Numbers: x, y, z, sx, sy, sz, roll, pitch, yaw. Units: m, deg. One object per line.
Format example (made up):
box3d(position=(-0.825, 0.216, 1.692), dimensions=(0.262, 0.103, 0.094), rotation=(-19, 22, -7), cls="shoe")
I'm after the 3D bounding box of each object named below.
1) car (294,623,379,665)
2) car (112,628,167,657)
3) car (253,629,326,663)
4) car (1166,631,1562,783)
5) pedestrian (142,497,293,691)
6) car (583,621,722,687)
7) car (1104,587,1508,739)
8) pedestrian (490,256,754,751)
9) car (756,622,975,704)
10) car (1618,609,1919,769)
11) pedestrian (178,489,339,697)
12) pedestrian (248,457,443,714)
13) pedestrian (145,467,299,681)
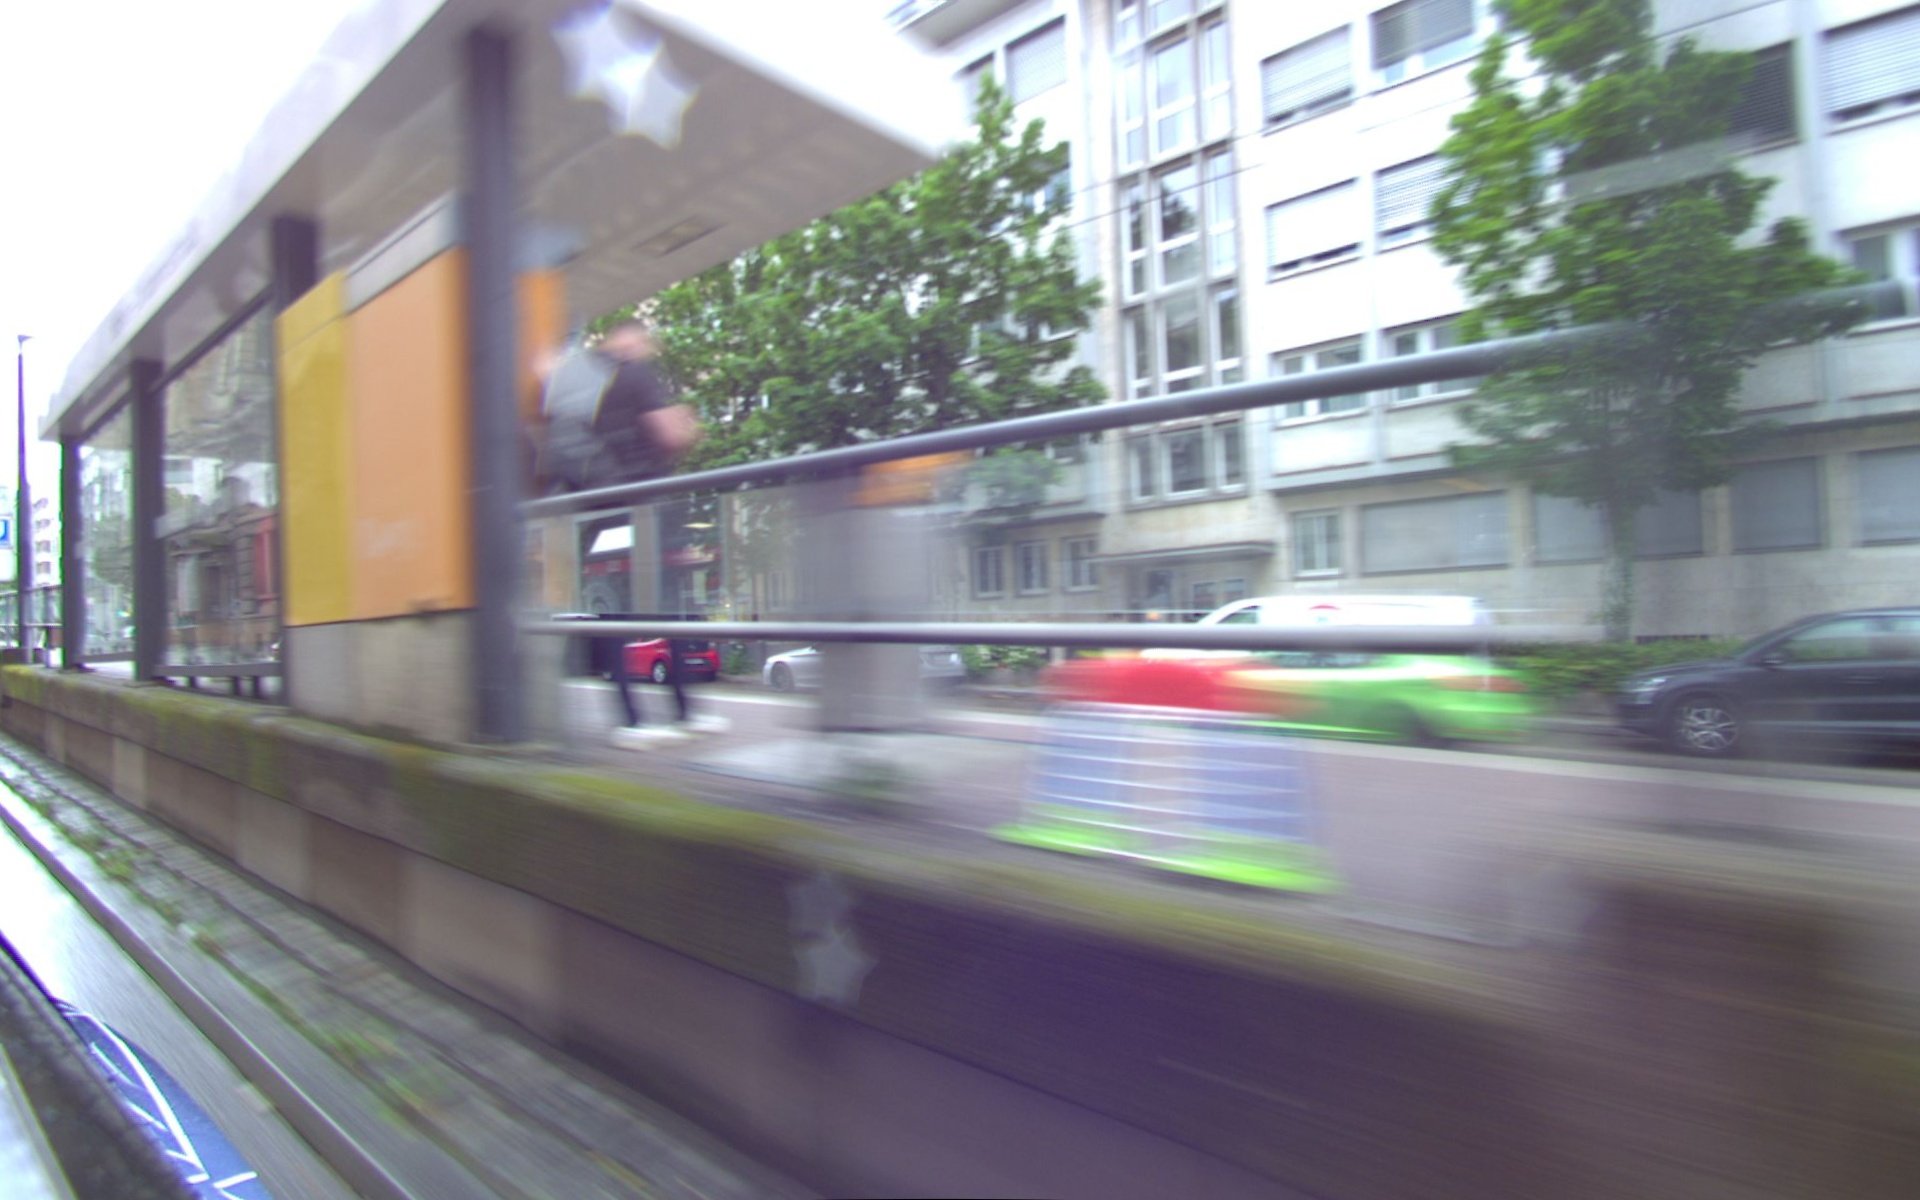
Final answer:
box3d(position=(-25.207, 1.748, 40.861), dimensions=(4.334, 1.596, 1.641), rotation=(-1, -2, 40), cls="car")
box3d(position=(-42.635, 2.179, 52.570), dimensions=(3.962, 1.473, 1.621), rotation=(-1, -2, 42), cls="car")
box3d(position=(-29.625, 1.990, 44.658), dimensions=(4.457, 1.386, 1.695), rotation=(-1, -2, 43), cls="car")
box3d(position=(4.316, 1.036, 11.087), dimensions=(3.731, 1.348, 1.623), rotation=(-1, -1, 39), cls="car")
box3d(position=(-5.365, -0.030, 7.319), dimensions=(0.700, 1.312, 0.720), rotation=(-1, -2, 40), cls="pedestrian")
box3d(position=(-7.940, 1.326, 25.996), dimensions=(3.801, 1.551, 1.622), rotation=(-1, -2, 40), cls="car")
box3d(position=(4.858, 0.824, 14.732), dimensions=(5.249, 1.858, 1.889), rotation=(-1, -1, 37), cls="car")
box3d(position=(-1.315, -0.324, 3.971), dimensions=(0.700, 1.706, 0.704), rotation=(-1, -2, 39), cls="pedestrian")
box3d(position=(-1.997, 1.184, 20.424), dimensions=(4.525, 1.473, 1.675), rotation=(-1, -1, 38), cls="car")
box3d(position=(9.608, 0.878, 10.590), dimensions=(4.369, 1.548, 1.621), rotation=(-1, -2, 42), cls="car")
box3d(position=(-4.778, -0.033, 6.901), dimensions=(0.700, 1.312, 0.720), rotation=(-1, -2, 39), cls="pedestrian")
box3d(position=(-3.429, -0.062, 5.659), dimensions=(0.700, 1.312, 0.720), rotation=(-1, -2, 39), cls="pedestrian")
box3d(position=(-6.404, -0.199, 8.803), dimensions=(0.700, 1.737, 0.907), rotation=(-1, -2, 39), cls="pedestrian")
